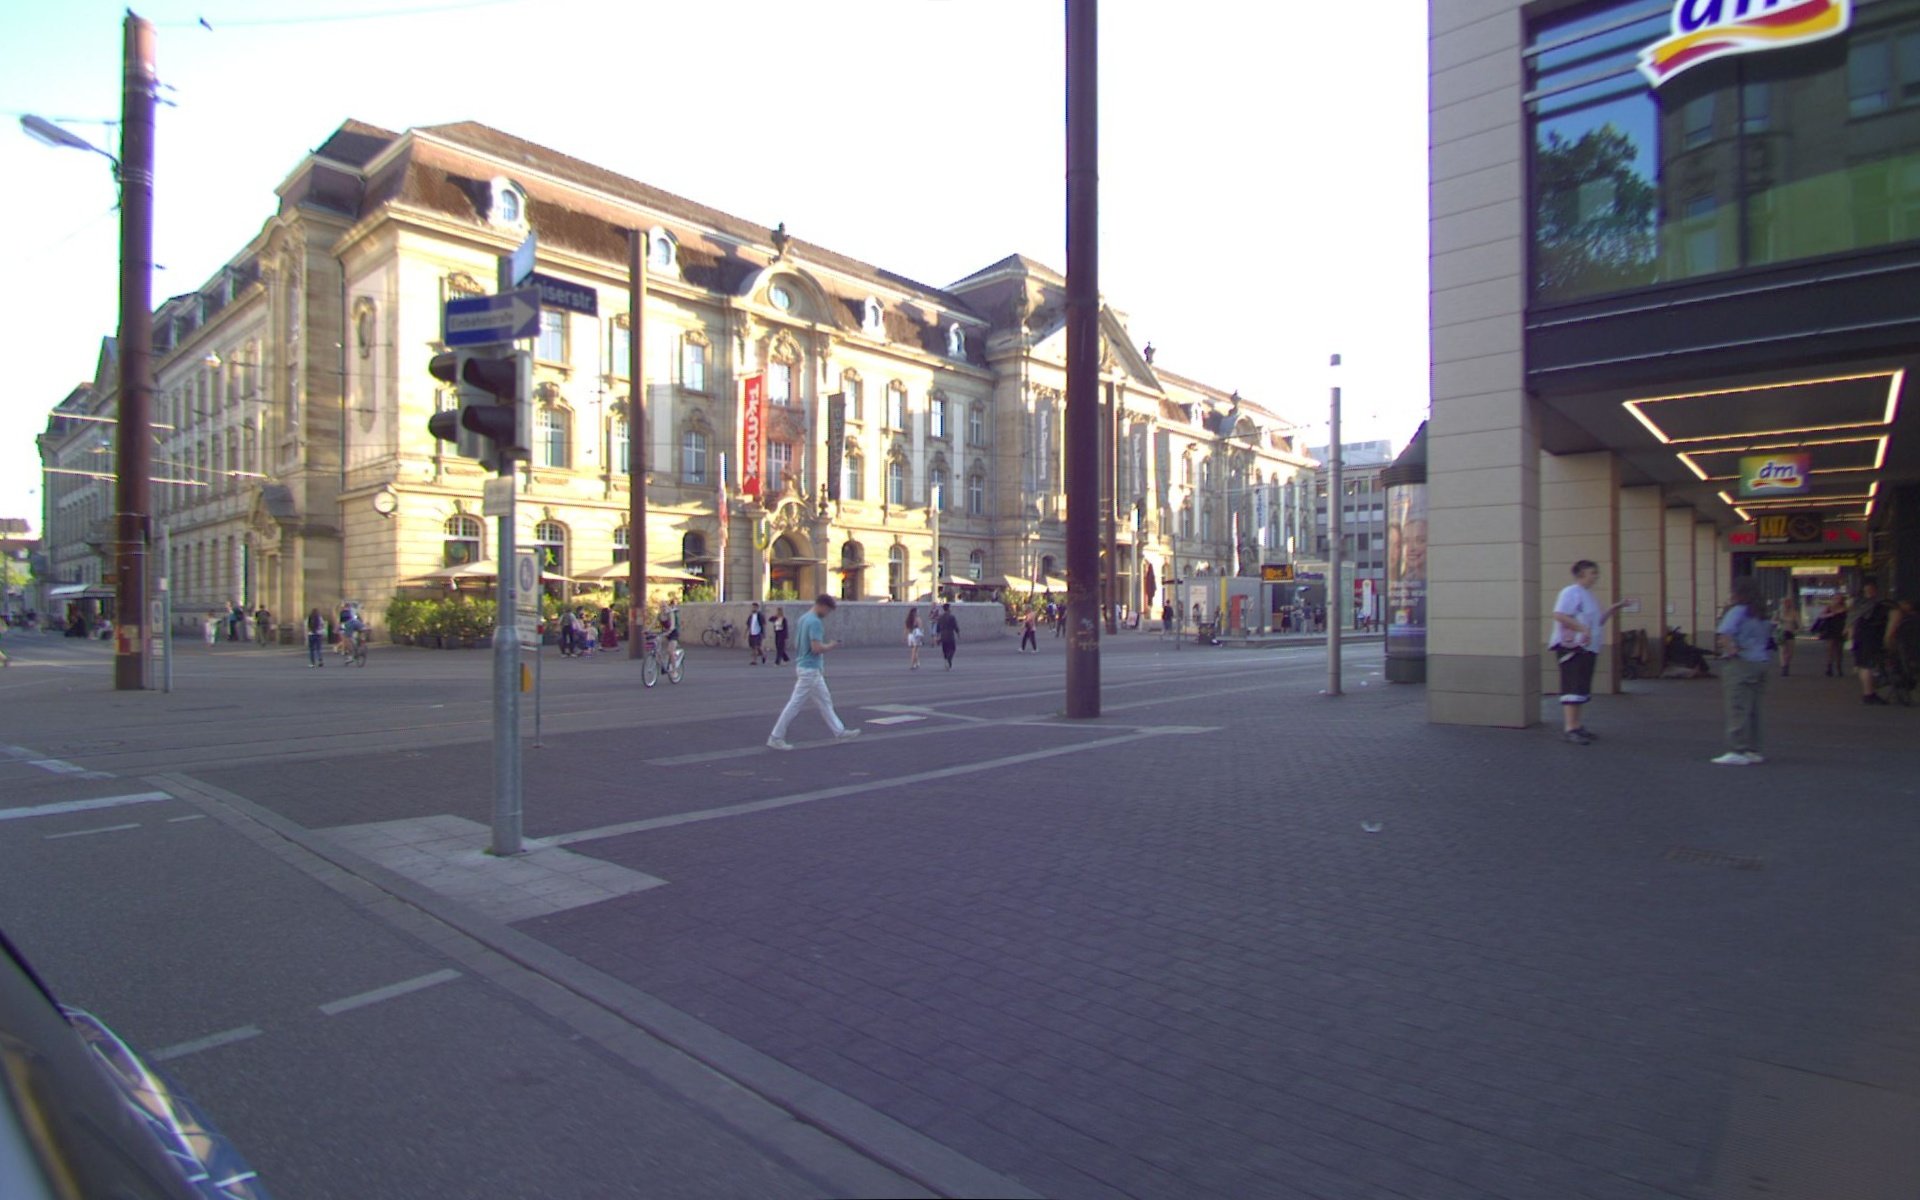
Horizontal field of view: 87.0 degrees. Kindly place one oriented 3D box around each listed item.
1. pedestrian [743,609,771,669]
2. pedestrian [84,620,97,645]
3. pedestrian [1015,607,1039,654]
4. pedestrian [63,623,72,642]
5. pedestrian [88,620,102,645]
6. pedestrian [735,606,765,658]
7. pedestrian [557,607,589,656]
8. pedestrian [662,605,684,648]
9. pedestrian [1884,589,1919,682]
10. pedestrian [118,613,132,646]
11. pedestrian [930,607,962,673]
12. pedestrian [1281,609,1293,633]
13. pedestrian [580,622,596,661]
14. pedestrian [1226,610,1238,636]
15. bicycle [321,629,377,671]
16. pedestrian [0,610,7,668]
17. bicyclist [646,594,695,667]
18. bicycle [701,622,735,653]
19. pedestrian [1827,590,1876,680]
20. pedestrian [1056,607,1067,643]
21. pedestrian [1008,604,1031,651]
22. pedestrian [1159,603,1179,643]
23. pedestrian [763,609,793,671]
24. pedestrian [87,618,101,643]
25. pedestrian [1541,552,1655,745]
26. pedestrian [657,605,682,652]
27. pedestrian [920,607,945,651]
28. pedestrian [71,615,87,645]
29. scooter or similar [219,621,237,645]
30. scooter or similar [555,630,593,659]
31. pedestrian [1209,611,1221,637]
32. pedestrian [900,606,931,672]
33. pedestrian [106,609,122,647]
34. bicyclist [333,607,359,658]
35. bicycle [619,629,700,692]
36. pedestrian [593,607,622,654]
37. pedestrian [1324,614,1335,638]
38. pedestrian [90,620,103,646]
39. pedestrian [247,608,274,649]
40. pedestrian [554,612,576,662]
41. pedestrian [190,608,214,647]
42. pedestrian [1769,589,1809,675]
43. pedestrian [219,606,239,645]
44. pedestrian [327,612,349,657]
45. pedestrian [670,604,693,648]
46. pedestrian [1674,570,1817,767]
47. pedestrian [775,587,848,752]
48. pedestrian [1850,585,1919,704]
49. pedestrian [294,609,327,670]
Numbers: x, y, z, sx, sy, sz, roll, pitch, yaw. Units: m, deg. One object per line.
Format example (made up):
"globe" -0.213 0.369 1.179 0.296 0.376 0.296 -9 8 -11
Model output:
"pedestrian" -5.786 1.093 28.872 0.522 1.687 0.651 1 -2 -42
"pedestrian" -46.579 1.727 54.217 0.512 1.337 0.638 0 -1 -45
"pedestrian" 2.350 1.062 35.473 0.673 1.649 0.587 0 -1 -14
"pedestrian" -53.193 1.943 60.332 0.360 1.111 0.430 -1 0 -42
"pedestrian" -45.945 1.718 53.728 0.512 1.337 0.638 0 -1 -45
"pedestrian" -6.818 1.036 32.880 0.650 1.687 0.706 -1 -2 42
"pedestrian" -13.178 1.072 34.471 0.687 1.626 0.819 -1 -1 16
"pedestrian" -11.747 1.072 41.378 0.719 1.718 0.493 0 1 36
"pedestrian" 17.688 0.656 18.937 0.574 1.693 0.666 -1 0 42
"pedestrian" -42.888 1.514 51.995 0.512 1.658 0.638 0 -1 -45
"pedestrian" -0.361 1.019 26.140 0.650 1.687 0.523 -1 -2 42
"pedestrian" 17.550 1.127 54.330 0.451 1.309 0.424 -1 1 36
"pedestrian" -12.063 1.344 32.799 0.476 1.252 0.413 0 -1 -24
"pedestrian" 14.077 1.201 52.374 0.451 1.309 0.424 -1 1 36
"bicycle" -17.347 1.398 28.710 2.017 1.106 0.568 -1 0 35
"pedestrian" -27.707 1.111 28.691 0.831 1.641 0.796 -1 -1 30
"bicyclist" -5.956 0.620 20.877 0.594 1.476 0.869 -1 0 15
"bicycle" -8.938 1.371 37.333 1.581 1.094 0.444 -1 0 44
"pedestrian" 17.286 0.658 19.618 0.684 1.693 0.805 -1 0 42
"pedestrian" 4.654 1.150 46.371 0.503 1.649 0.347 0 -1 4
"pedestrian" 2.106 0.966 36.055 0.673 1.649 0.587 0 -1 -14
"pedestrian" 9.099 1.001 44.122 0.650 1.687 0.523 -1 -2 42
"pedestrian" -5.070 1.099 28.193 0.522 1.687 0.755 1 -2 -42
"pedestrian" -48.244 1.684 56.374 0.512 1.337 0.638 0 -1 -45
"pedestrian" 6.473 0.467 10.282 0.565 1.869 0.818 -1 0 -37
"pedestrian" -10.714 1.032 37.312 0.716 1.718 0.495 0 1 24
"pedestrian" -1.060 1.101 38.883 0.650 1.687 0.706 -1 -2 42
"pedestrian" -50.066 1.705 57.520 0.510 1.663 0.640 0 0 -26
"scooter or similar" -36.763 1.648 50.812 1.293 1.190 0.481 -1 0 44
"scooter or similar" -12.736 1.450 33.404 0.877 0.911 1.097 0 -1 -3
"pedestrian" 13.129 1.219 52.188 0.451 1.309 0.424 -1 1 36
"pedestrian" -1.166 1.014 26.508 0.650 1.687 0.523 -1 -2 42
"pedestrian" -40.878 1.355 48.900 0.460 1.789 0.563 -1 -1 -22
"bicyclist" -17.428 0.918 28.733 0.562 1.438 0.417 -1 0 35
"bicycle" -6.037 1.194 20.432 0.694 1.124 1.910 -1 0 13
"pedestrian" -12.445 1.067 35.704 0.661 1.626 0.768 -1 -1 16
"pedestrian" 20.703 1.466 56.729 0.451 1.330 0.424 -1 1 36
"pedestrian" -45.395 1.712 53.202 0.512 1.337 0.638 0 -1 -45
"pedestrian" -28.866 1.178 41.766 0.971 1.641 0.682 -1 -1 40
"pedestrian" -12.738 1.189 32.641 0.639 1.585 0.482 0 -1 -19
"pedestrian" -32.113 1.145 42.884 0.630 1.626 0.692 -1 0 40
"pedestrian" 16.719 0.623 20.401 0.574 1.693 0.764 -1 0 42
"pedestrian" -34.660 1.205 47.978 0.705 1.789 0.614 -1 -1 38
"pedestrian" -21.239 1.170 34.574 0.494 1.537 0.528 -1 -1 -11
"pedestrian" -10.911 1.021 39.681 0.716 1.718 0.495 0 1 24
"pedestrian" 7.091 0.576 9.146 0.756 1.672 0.818 -1 0 -35
"pedestrian" -1.665 0.751 11.415 0.756 1.774 0.870 -1 0 -7
"pedestrian" 12.422 0.573 13.446 0.565 1.538 0.792 -1 0 -37
"pedestrian" -18.156 1.106 28.288 0.639 1.687 0.532 0 -1 -16
